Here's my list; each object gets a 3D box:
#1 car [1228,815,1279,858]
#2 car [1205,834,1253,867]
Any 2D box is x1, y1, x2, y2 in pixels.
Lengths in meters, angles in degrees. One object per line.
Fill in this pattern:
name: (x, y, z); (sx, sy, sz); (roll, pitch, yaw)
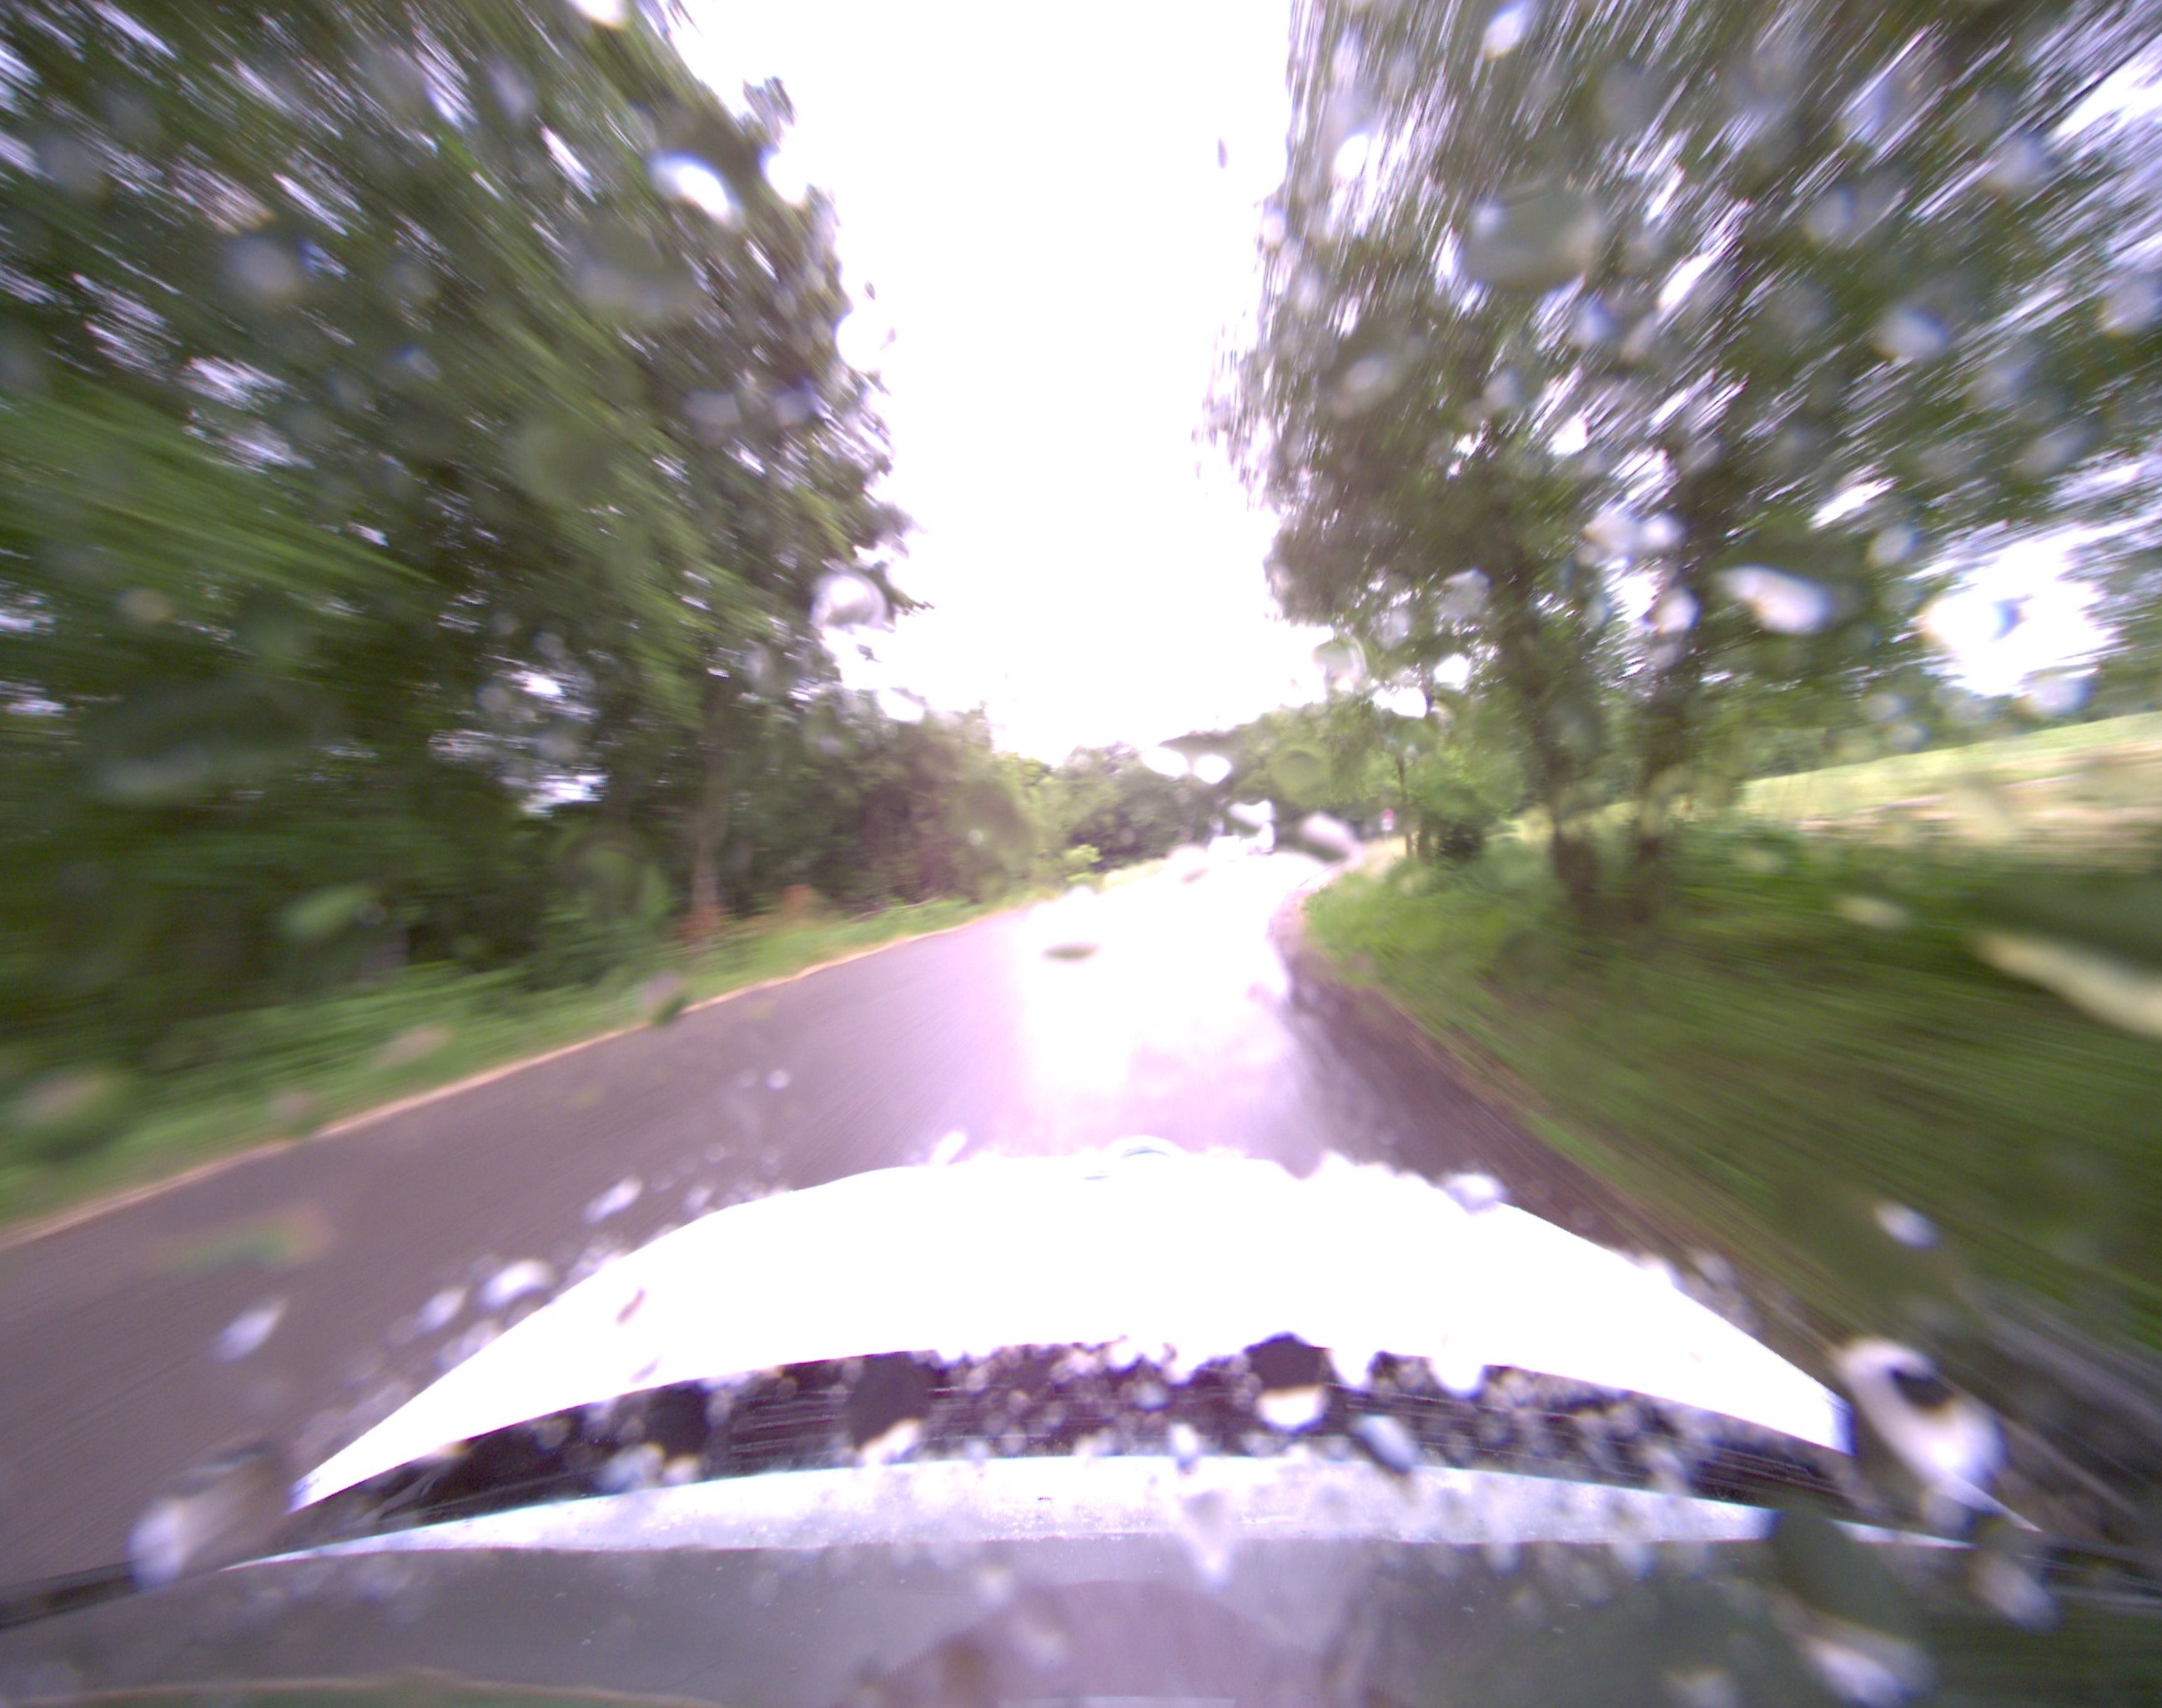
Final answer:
car: (12.427, -1.320, 58.343); (2.253, 2.696, 6.083); (-6, 1, 22)
car: (8.946, -0.255, 49.021); (1.845, 1.595, 4.520); (-5, 1, 22)
